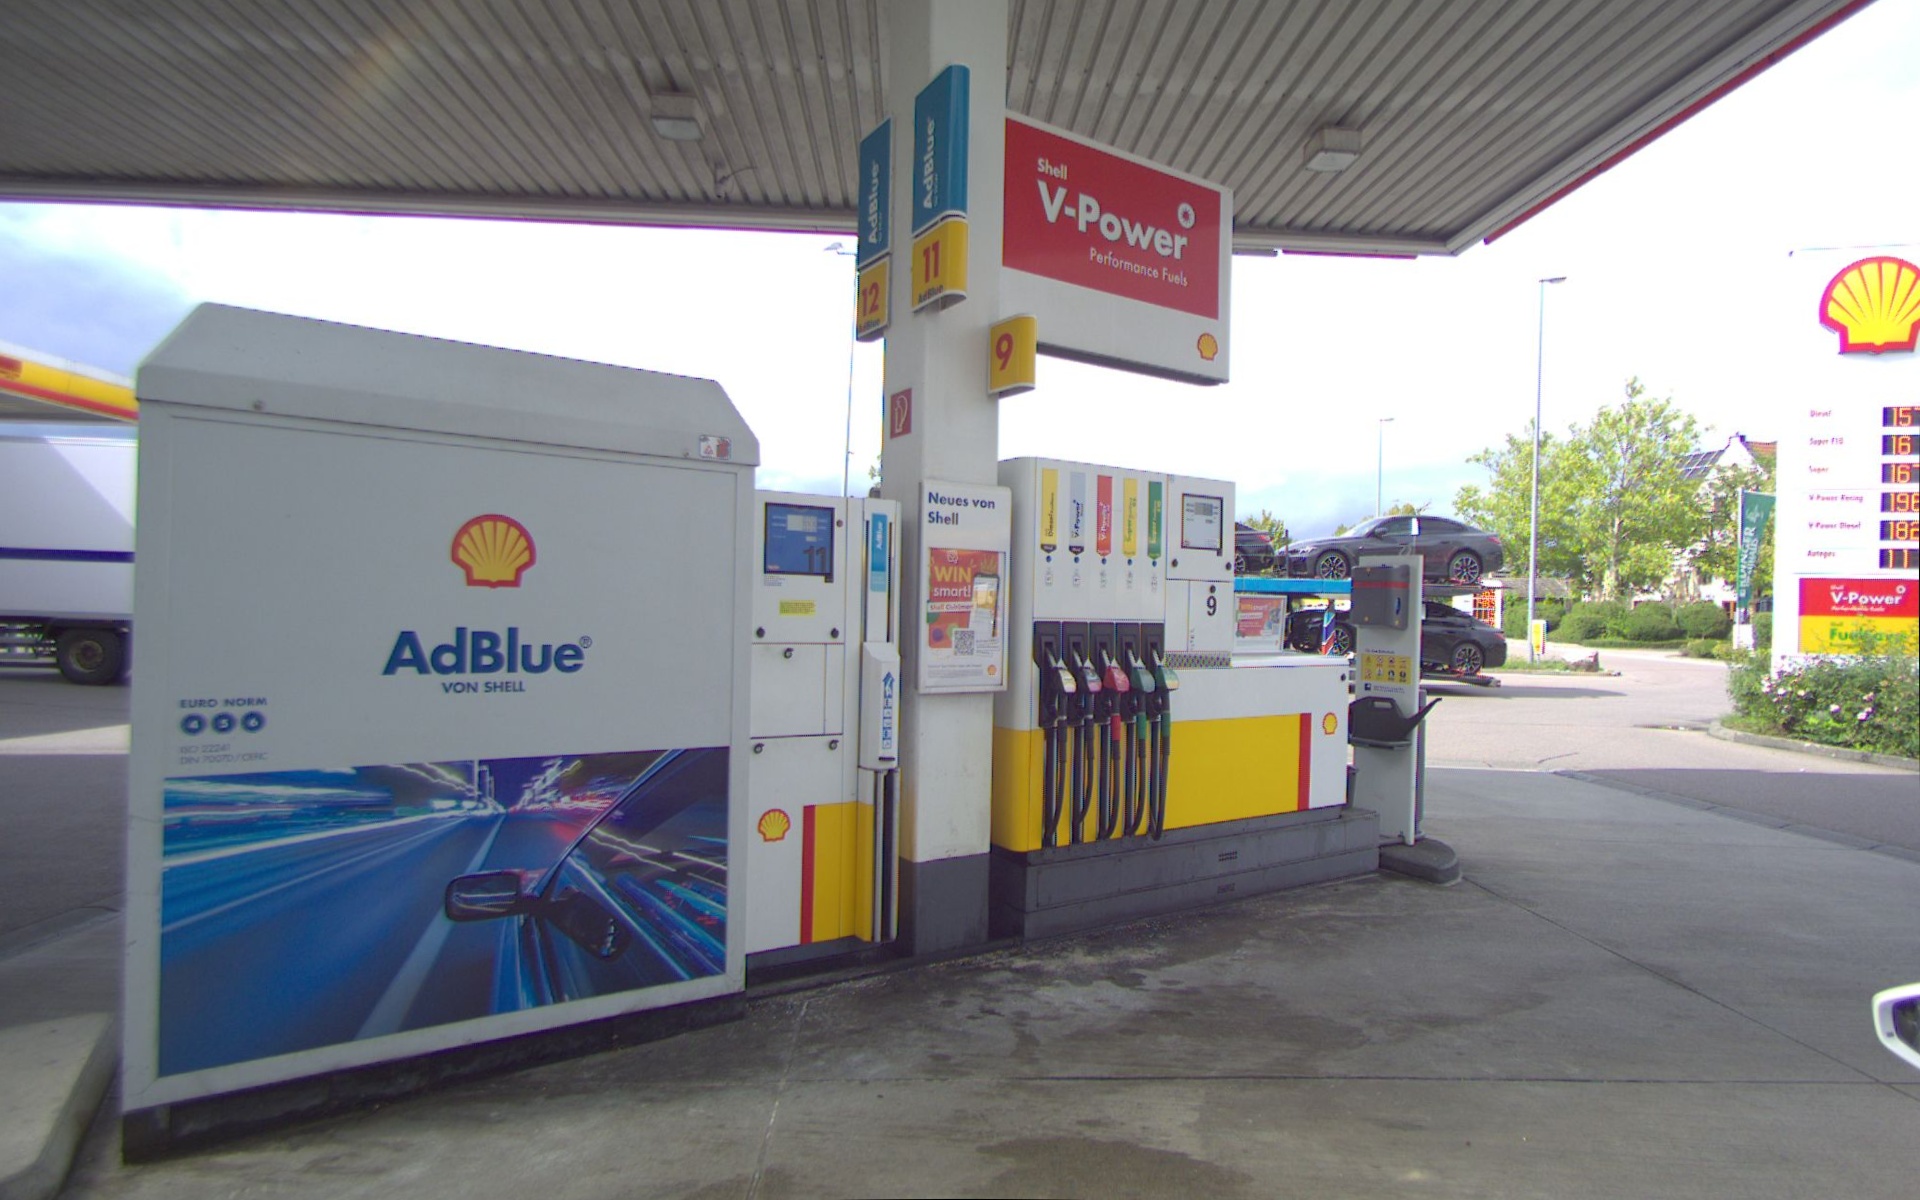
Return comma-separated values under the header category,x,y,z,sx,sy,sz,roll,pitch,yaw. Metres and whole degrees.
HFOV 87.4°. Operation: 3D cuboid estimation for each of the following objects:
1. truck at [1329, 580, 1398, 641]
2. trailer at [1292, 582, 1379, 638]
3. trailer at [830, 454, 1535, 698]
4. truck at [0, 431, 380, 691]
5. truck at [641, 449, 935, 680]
category,x,y,z,sx,sy,sz,roll,pitch,yaw
truck,27.618,0.695,69.024,2.686,3.897,5.921,2,0,5
trailer,28.137,0.747,76.058,2.684,3.826,12.718,2,0,5
trailer,4.490,-0.467,21.580,14.077,4.481,2.746,2,0,0
truck,-17.336,-0.739,17.491,12.654,4.092,2.534,2,0,-3
truck,-3.485,-0.703,21.539,5.713,4.479,2.750,2,0,0
